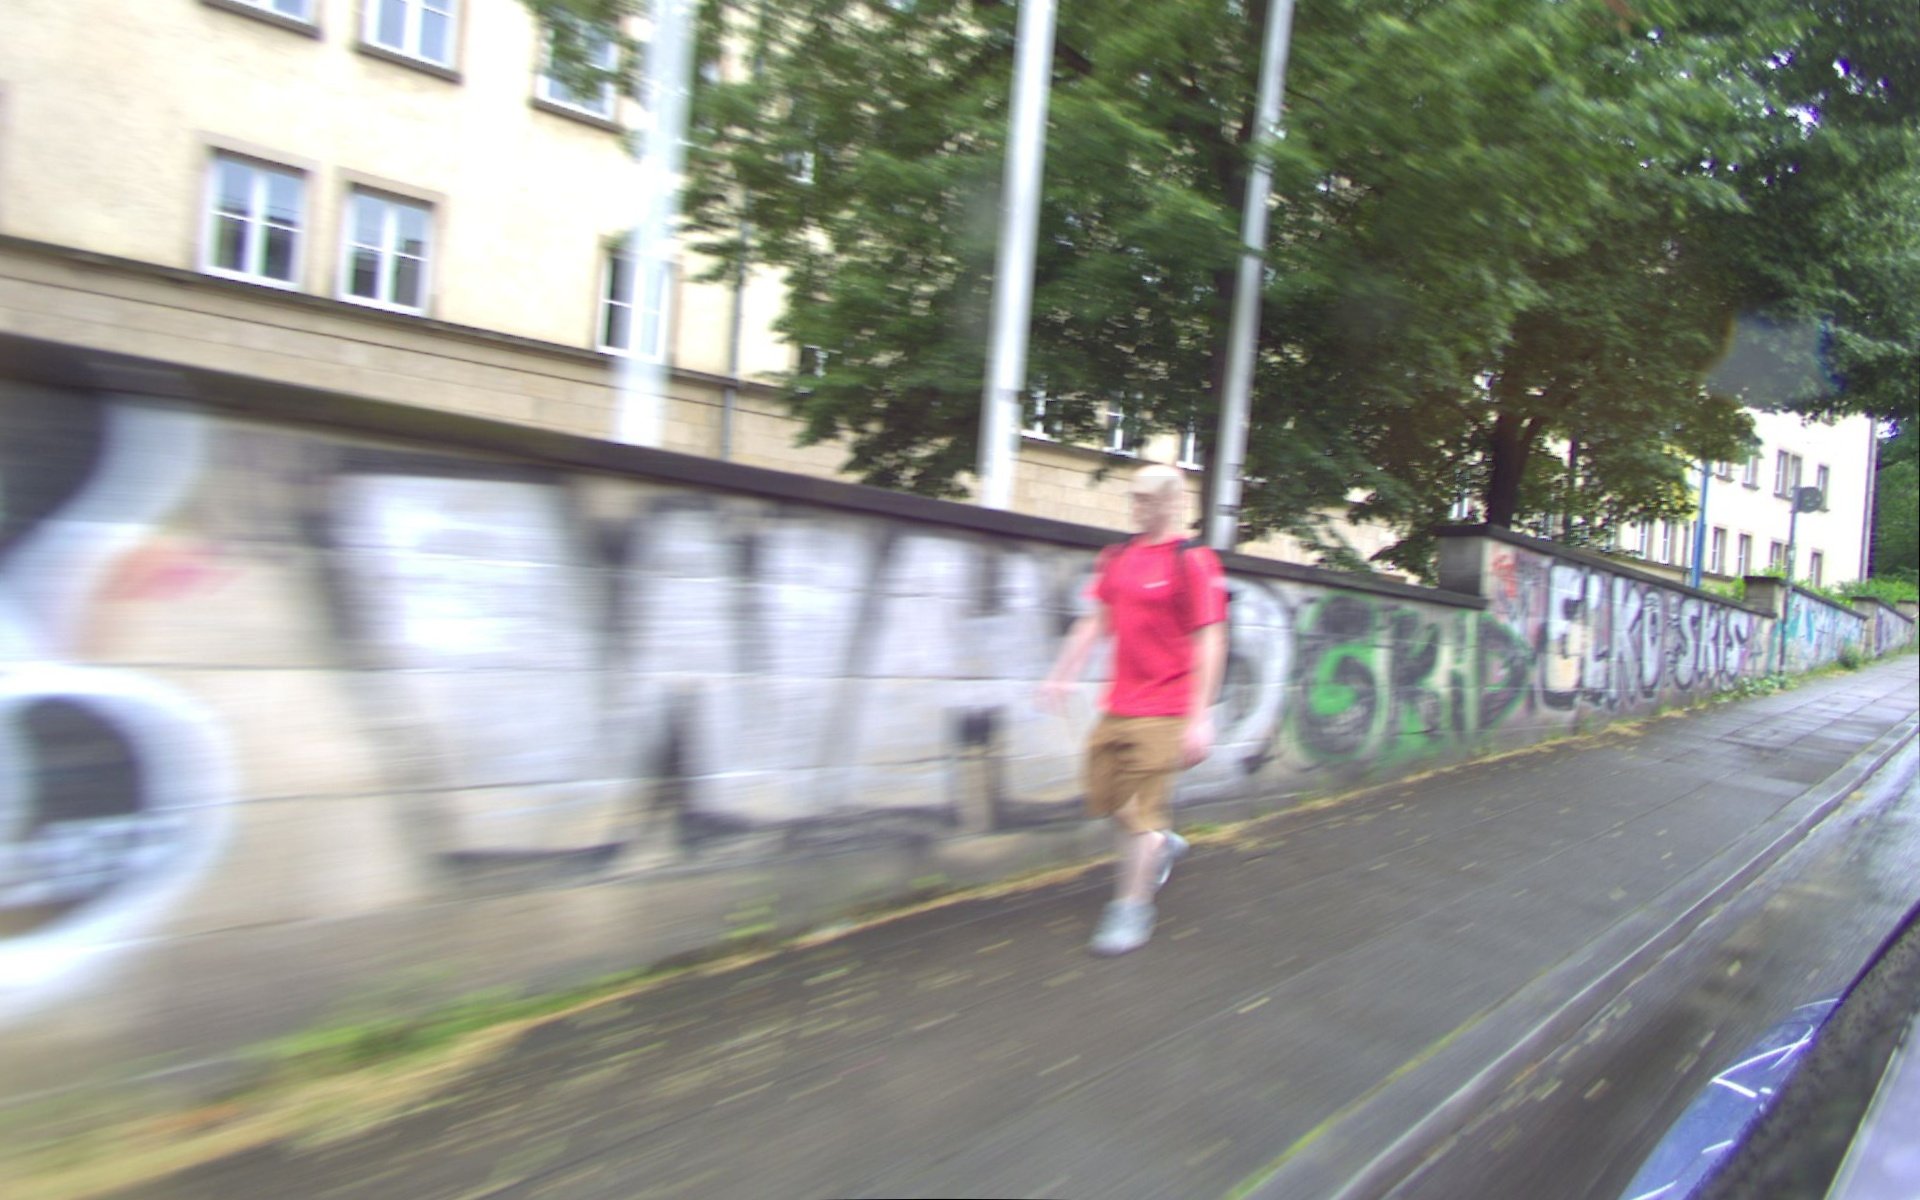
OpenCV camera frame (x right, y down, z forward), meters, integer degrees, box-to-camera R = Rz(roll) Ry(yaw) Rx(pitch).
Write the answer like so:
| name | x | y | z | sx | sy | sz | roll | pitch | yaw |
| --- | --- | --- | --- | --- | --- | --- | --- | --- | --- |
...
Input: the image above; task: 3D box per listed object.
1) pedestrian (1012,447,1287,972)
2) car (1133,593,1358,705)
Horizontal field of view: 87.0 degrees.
| name | x | y | z | sx | sy | sz | roll | pitch | yaw |
| --- | --- | --- | --- | --- | --- | --- | --- | --- | --- |
| pedestrian | 0.710 | 0.352 | 3.816 | 0.698 | 1.742 | 0.634 | 1 | 2 | -40 |
| car | 5.472 | 0.858 | 19.913 | 1.759 | 1.815 | 4.143 | 2 | 2 | -30 |
